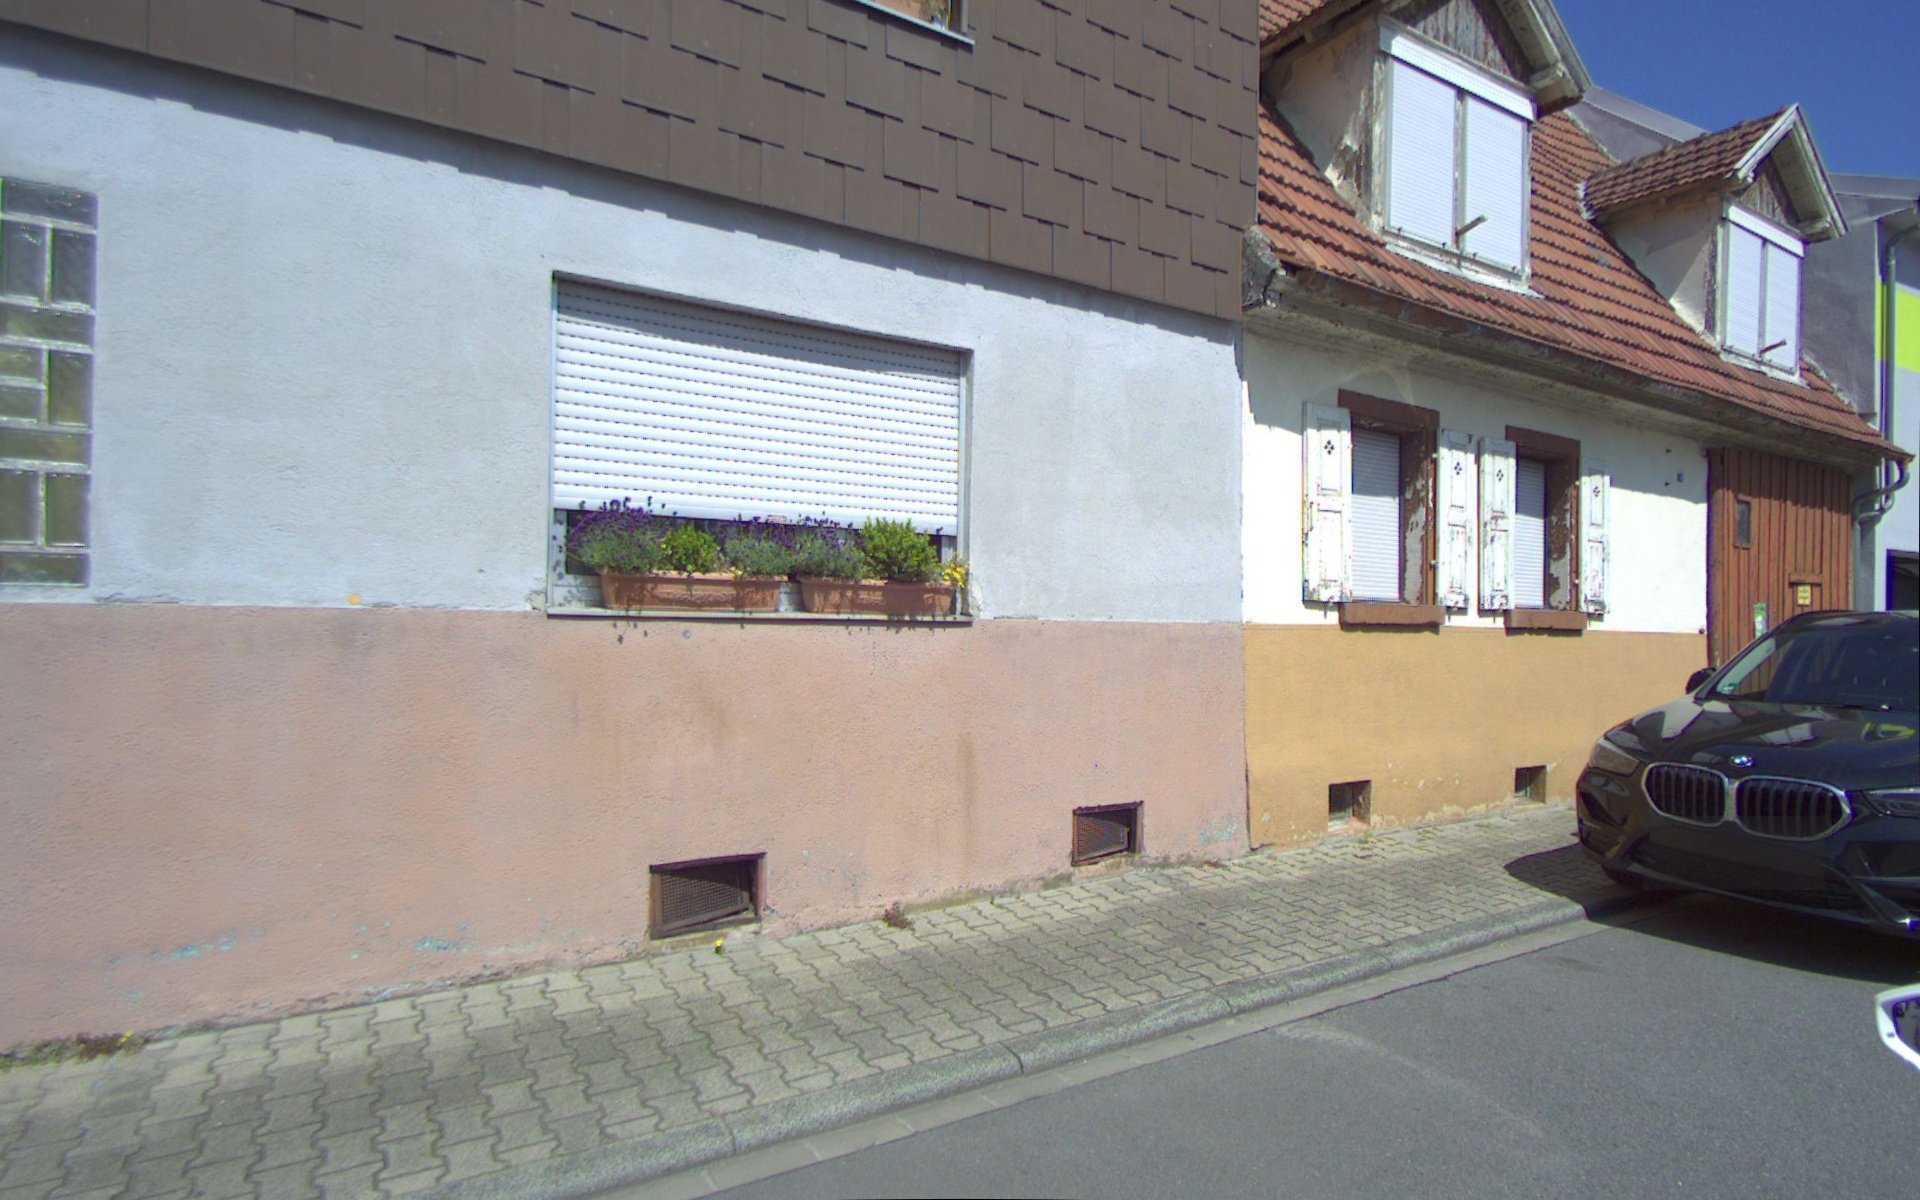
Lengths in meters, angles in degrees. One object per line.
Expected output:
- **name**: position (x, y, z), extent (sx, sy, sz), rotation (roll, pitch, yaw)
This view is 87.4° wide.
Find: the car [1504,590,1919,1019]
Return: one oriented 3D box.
- **car**: position (5.198, 0.837, 5.516), extent (4.560, 1.595, 1.792), rotation (2, -2, -30)
